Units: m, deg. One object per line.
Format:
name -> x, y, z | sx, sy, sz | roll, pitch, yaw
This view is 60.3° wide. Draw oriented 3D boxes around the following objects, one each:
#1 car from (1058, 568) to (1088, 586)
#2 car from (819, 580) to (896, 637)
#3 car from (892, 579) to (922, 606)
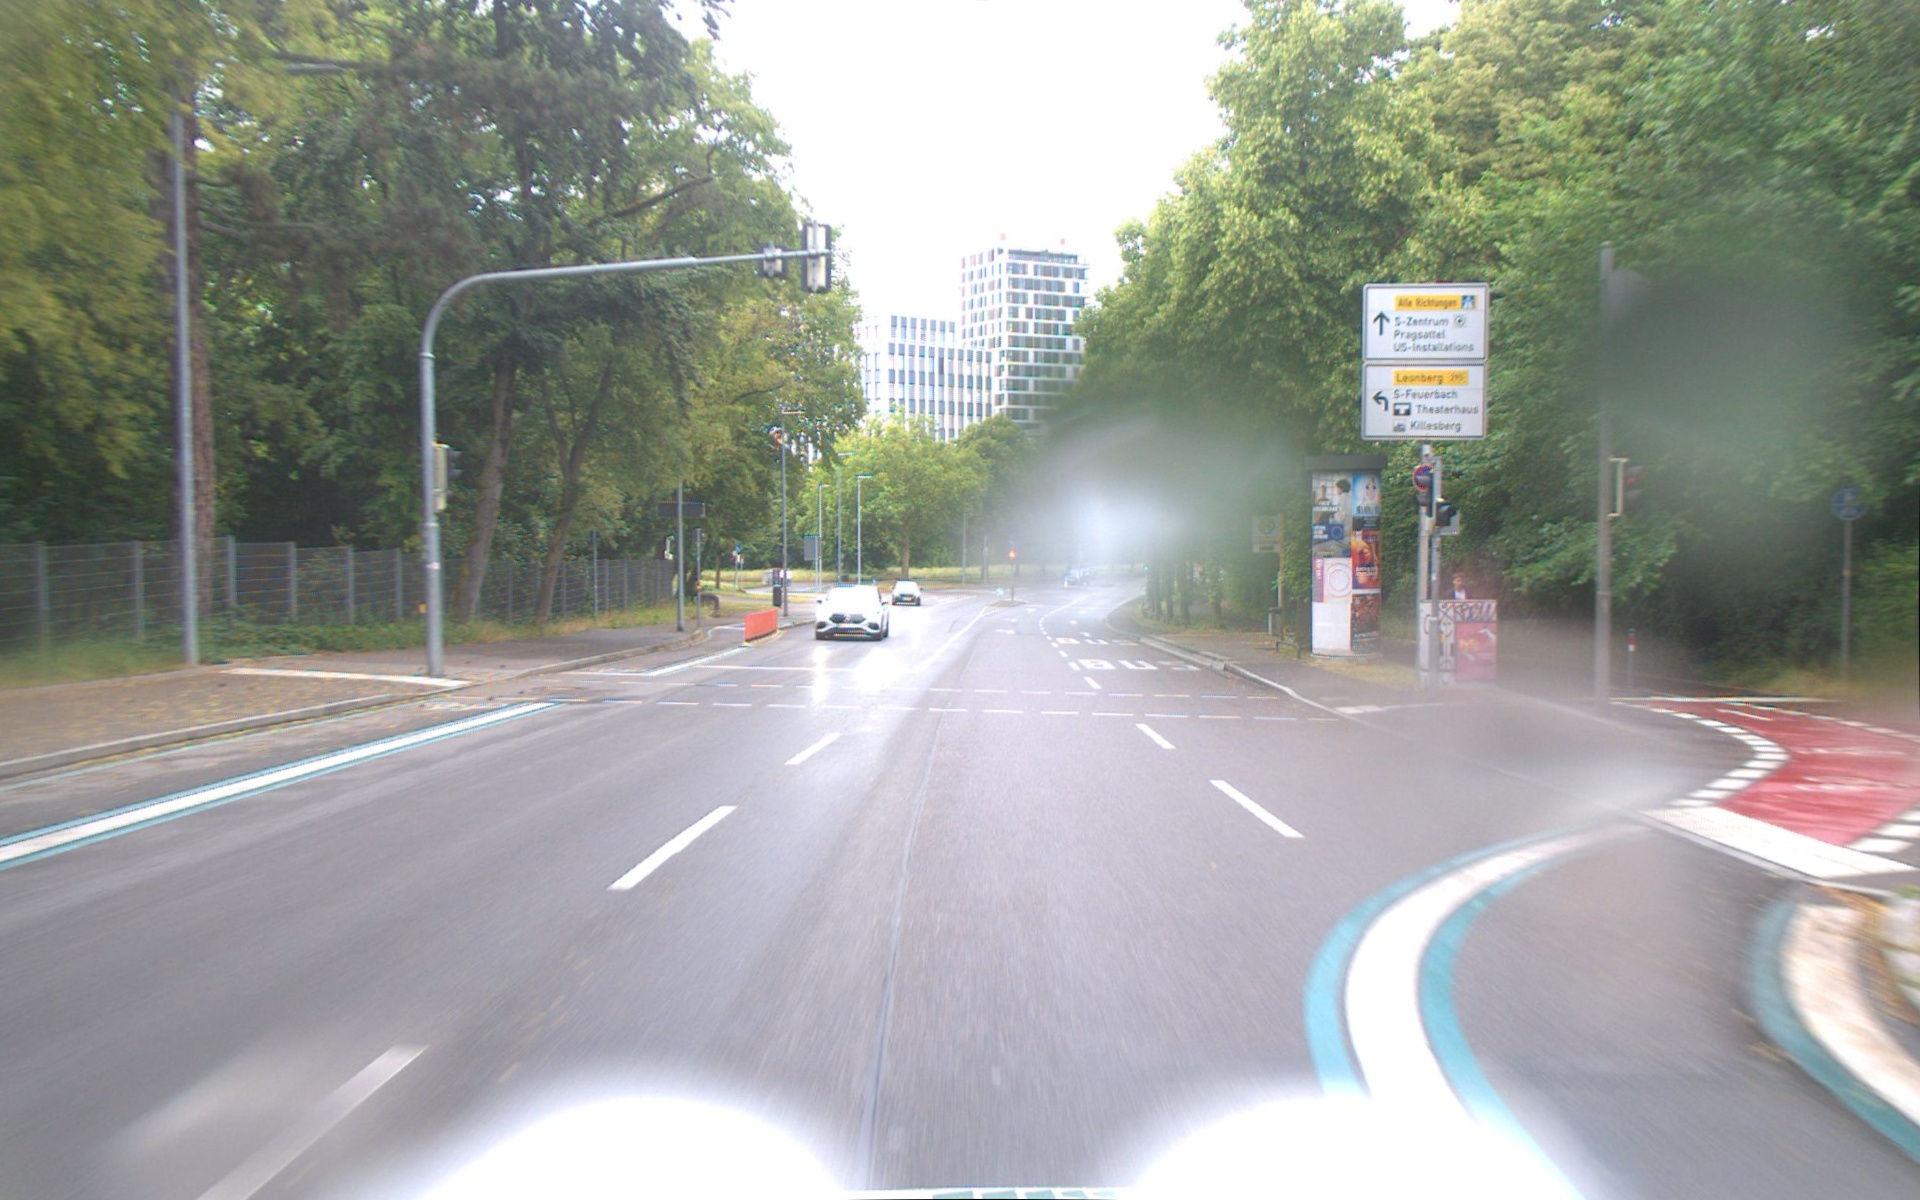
car -> 10.553, -2.132, 154.311 | 1.951, 1.715, 4.002 | 1, 0, 17
car -> -2.881, 0.197, 47.188 | 1.805, 1.482, 4.501 | 0, 1, 1
car -> -3.282, -0.472, 102.788 | 1.568, 1.467, 4.002 | 2, 2, 1
